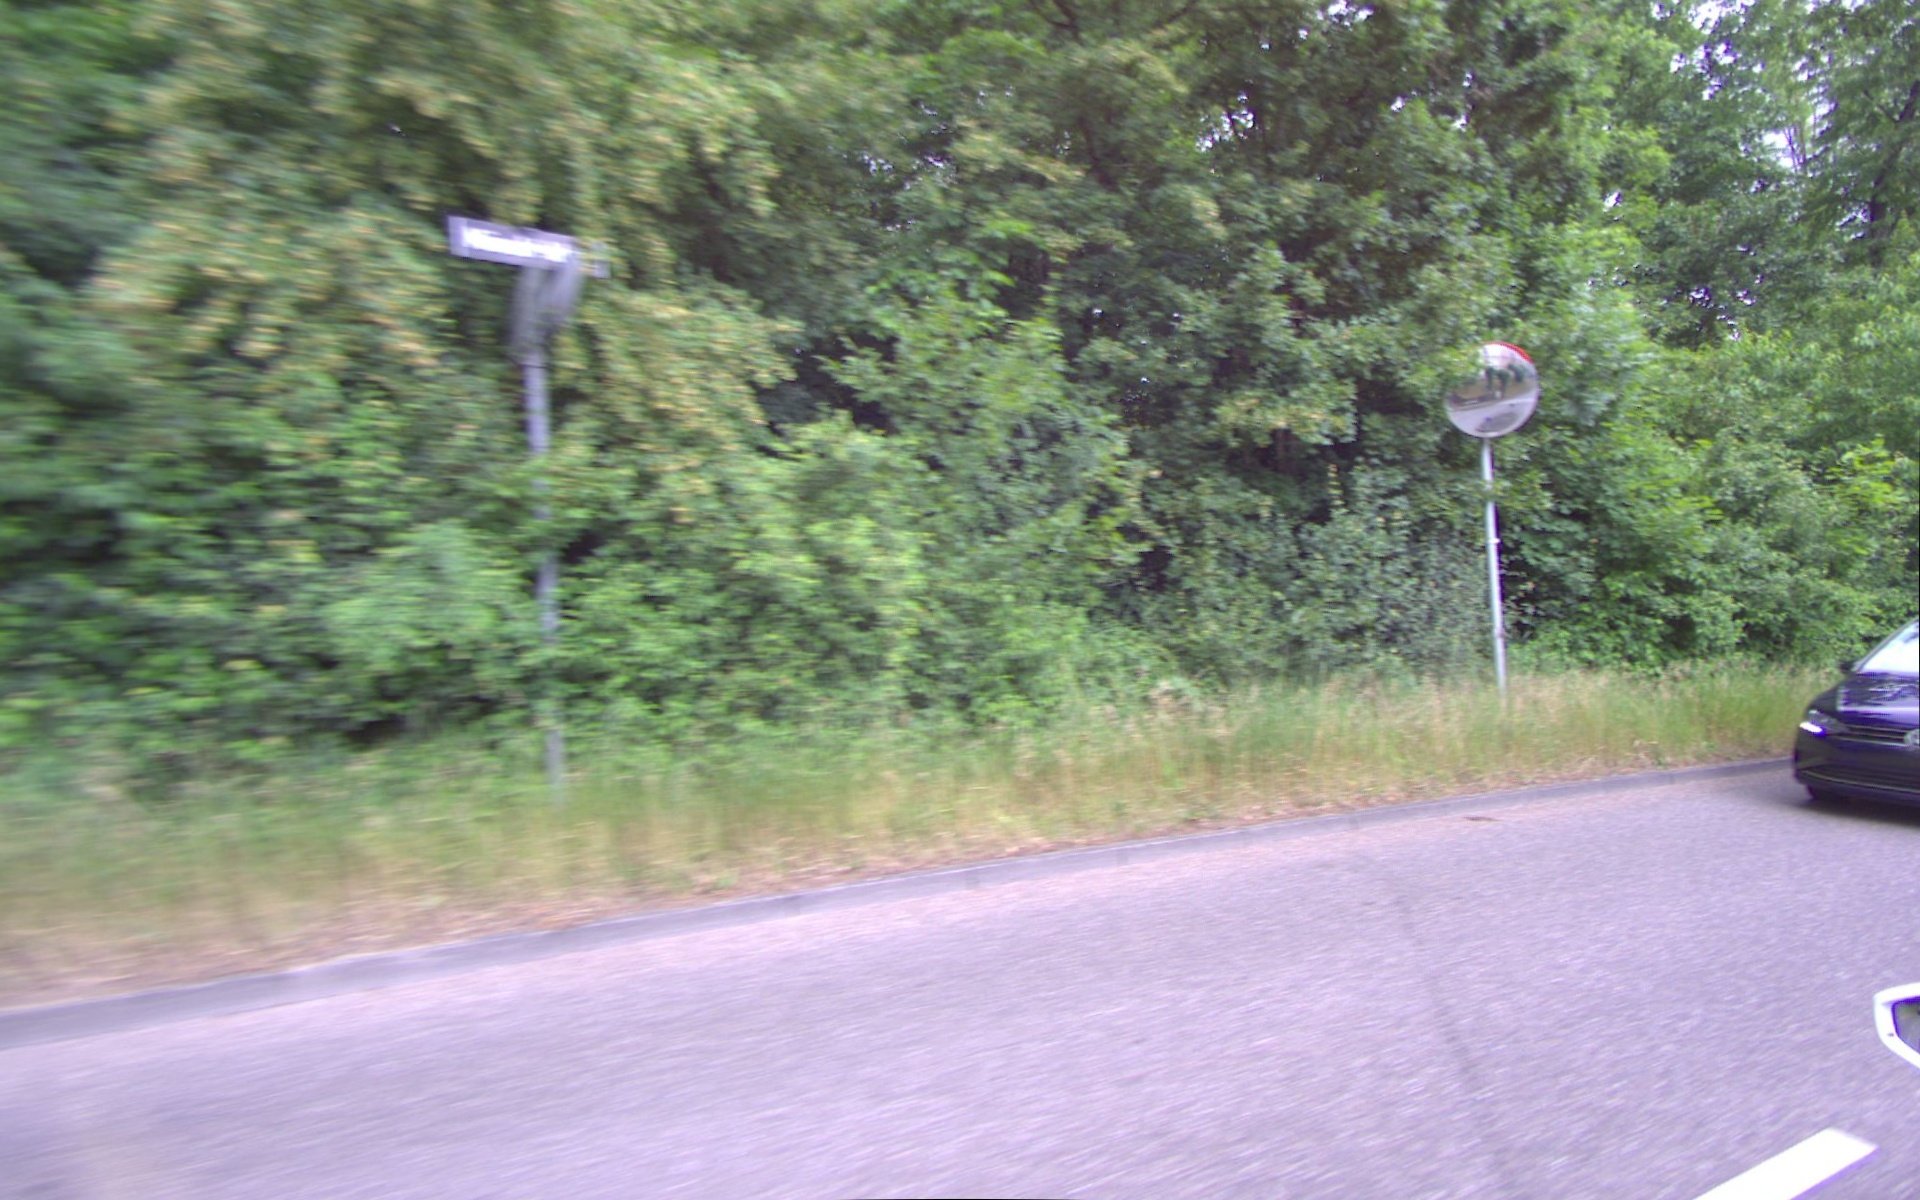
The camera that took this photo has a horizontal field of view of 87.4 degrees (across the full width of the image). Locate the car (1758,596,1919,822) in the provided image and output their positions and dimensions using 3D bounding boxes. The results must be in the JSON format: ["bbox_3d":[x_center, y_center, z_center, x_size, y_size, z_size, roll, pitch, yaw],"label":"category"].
[{"bbox_3d":[8.602,0.758,8.055,4.783,1.535,1.781,0,0,-29],"label":"car"}]
